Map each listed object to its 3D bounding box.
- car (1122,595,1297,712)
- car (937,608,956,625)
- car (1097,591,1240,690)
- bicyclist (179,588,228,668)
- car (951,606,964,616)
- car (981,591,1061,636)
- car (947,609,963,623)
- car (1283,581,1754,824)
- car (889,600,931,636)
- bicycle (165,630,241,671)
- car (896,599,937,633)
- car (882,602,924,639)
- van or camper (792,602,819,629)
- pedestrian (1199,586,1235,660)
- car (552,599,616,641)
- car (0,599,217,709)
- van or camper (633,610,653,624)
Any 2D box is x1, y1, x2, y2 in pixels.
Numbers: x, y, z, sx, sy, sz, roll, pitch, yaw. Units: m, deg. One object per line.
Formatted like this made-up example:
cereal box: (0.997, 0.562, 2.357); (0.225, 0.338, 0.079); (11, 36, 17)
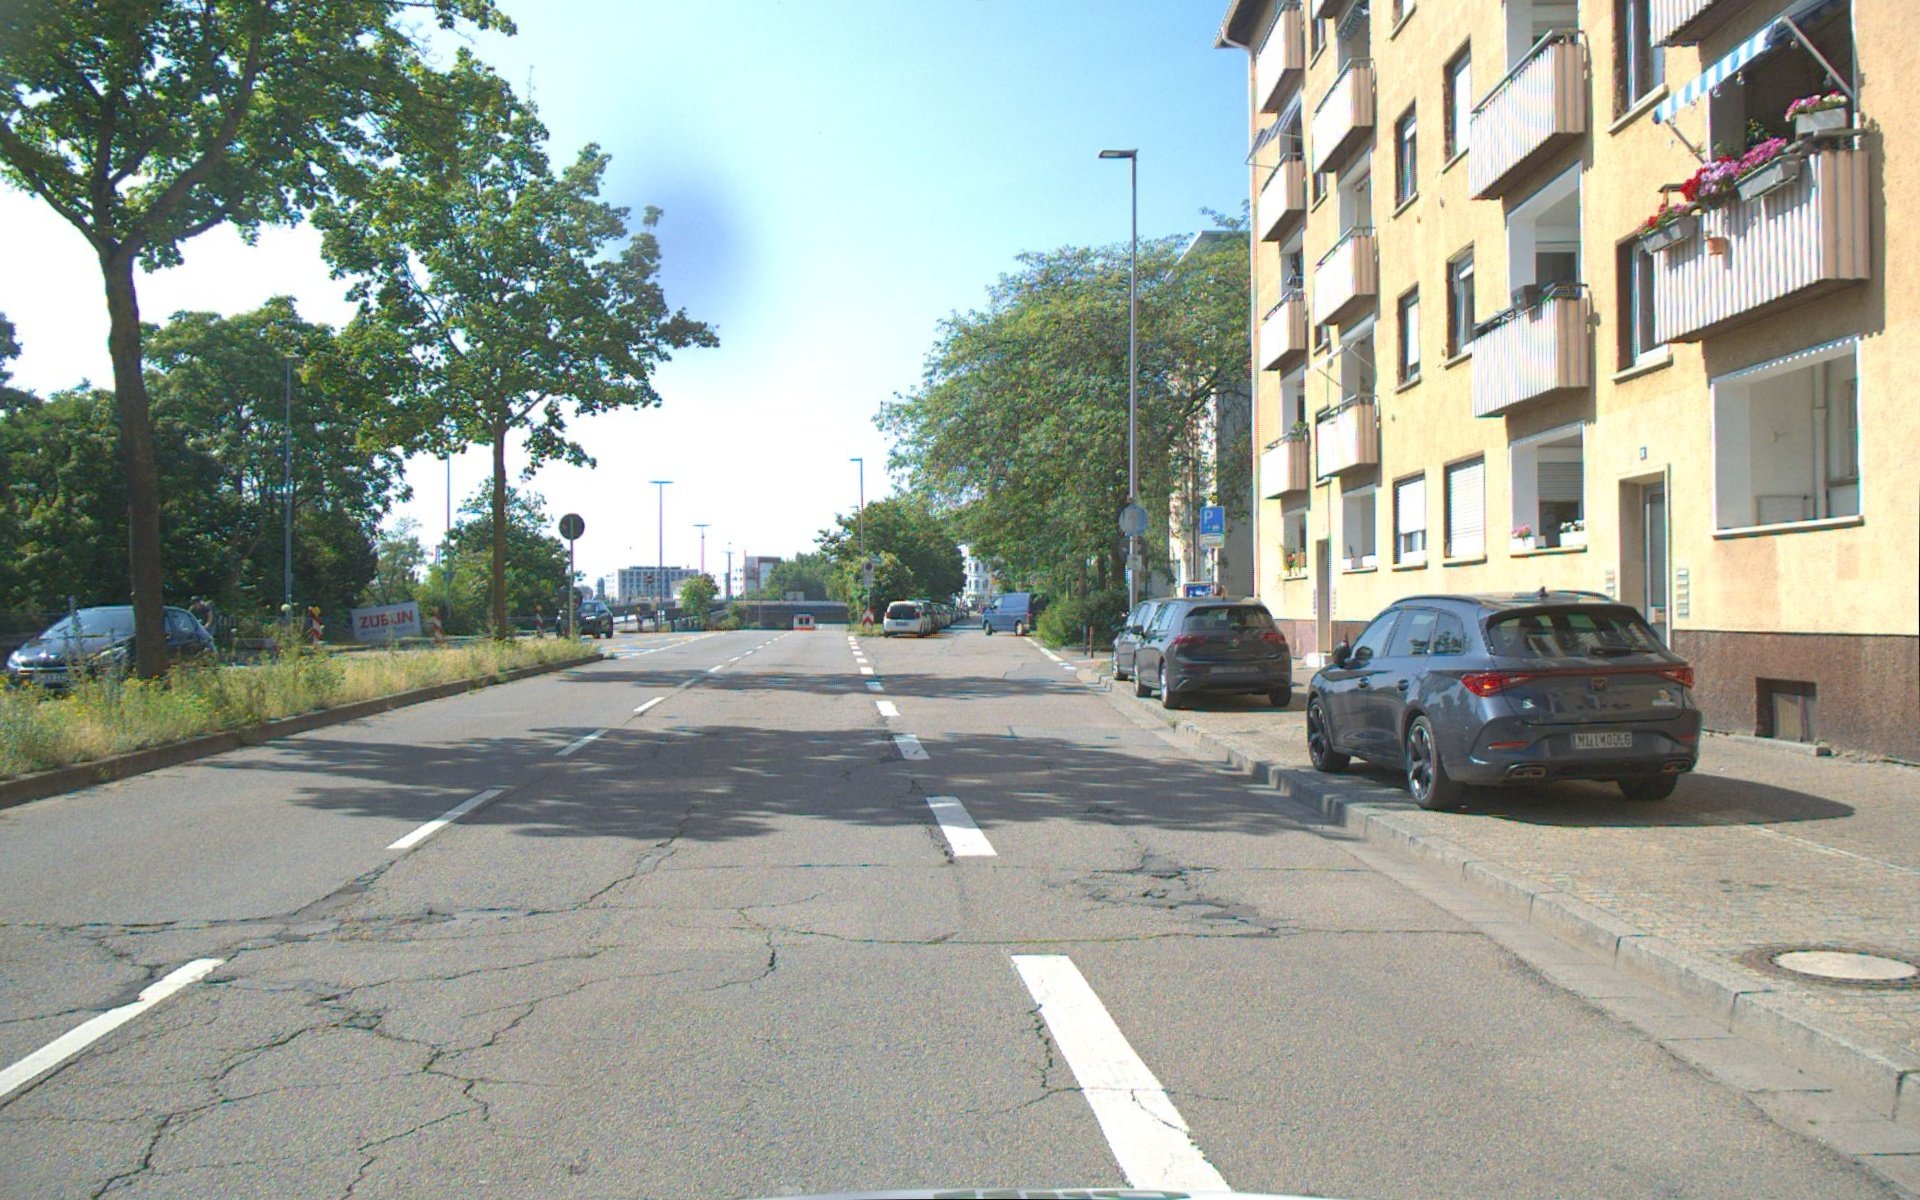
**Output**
car: (3.453, 0.689, 23.577); (1.676, 1.487, 4.254); (-1, 0, -2)
car: (-1.211, 1.505, 154.932); (1.629, 1.536, 4.009); (2, 0, 1)
car: (3.524, 0.640, 28.634); (1.669, 1.540, 4.089); (-2, 0, -4)
bicyclist: (-18.026, 0.658, 39.423); (0.682, 1.864, 1.017); (0, 0, 1)
car: (-0.367, 1.748, 260.643); (1.953, 1.686, 4.000); (0, -1, 0)
car: (2.761, 0.604, 75.888); (1.863, 1.955, 3.968); (2, 0, -30)
car: (-0.594, 1.993, 207.979); (1.953, 1.686, 4.000); (0, -1, 0)
car: (3.914, 0.633, 12.529); (1.765, 1.463, 4.586); (-1, 0, -4)
car: (-2.224, 0.793, 74.604); (1.685, 1.532, 4.132); (0, 0, 1)
bicycle: (-18.029, 1.189, 39.442); (0.679, 0.921, 2.342); (0, 0, 1)
car: (-2.129, 0.759, 80.035); (1.737, 1.607, 4.181); (0, 0, -5)
car: (-2.381, 0.852, 69.934); (1.586, 1.532, 3.462); (0, 0, 1)
van or camper: (-16.309, 1.632, 174.744); (2.249, 2.838, 5.570); (0, -1, 0)
pedestrian: (5.872, 0.517, 37.796); (0.642, 1.637, 0.824); (-2, 0, 1)
car: (-16.415, 0.866, 72.431); (1.954, 1.764, 4.726); (0, 0, -3)
car: (-12.775, 0.737, 24.652); (1.728, 1.500, 4.082); (0, 0, -3)
van or camper: (-30.298, 1.607, 158.353); (1.438, 1.373, 4.625); (0, 0, -5)
